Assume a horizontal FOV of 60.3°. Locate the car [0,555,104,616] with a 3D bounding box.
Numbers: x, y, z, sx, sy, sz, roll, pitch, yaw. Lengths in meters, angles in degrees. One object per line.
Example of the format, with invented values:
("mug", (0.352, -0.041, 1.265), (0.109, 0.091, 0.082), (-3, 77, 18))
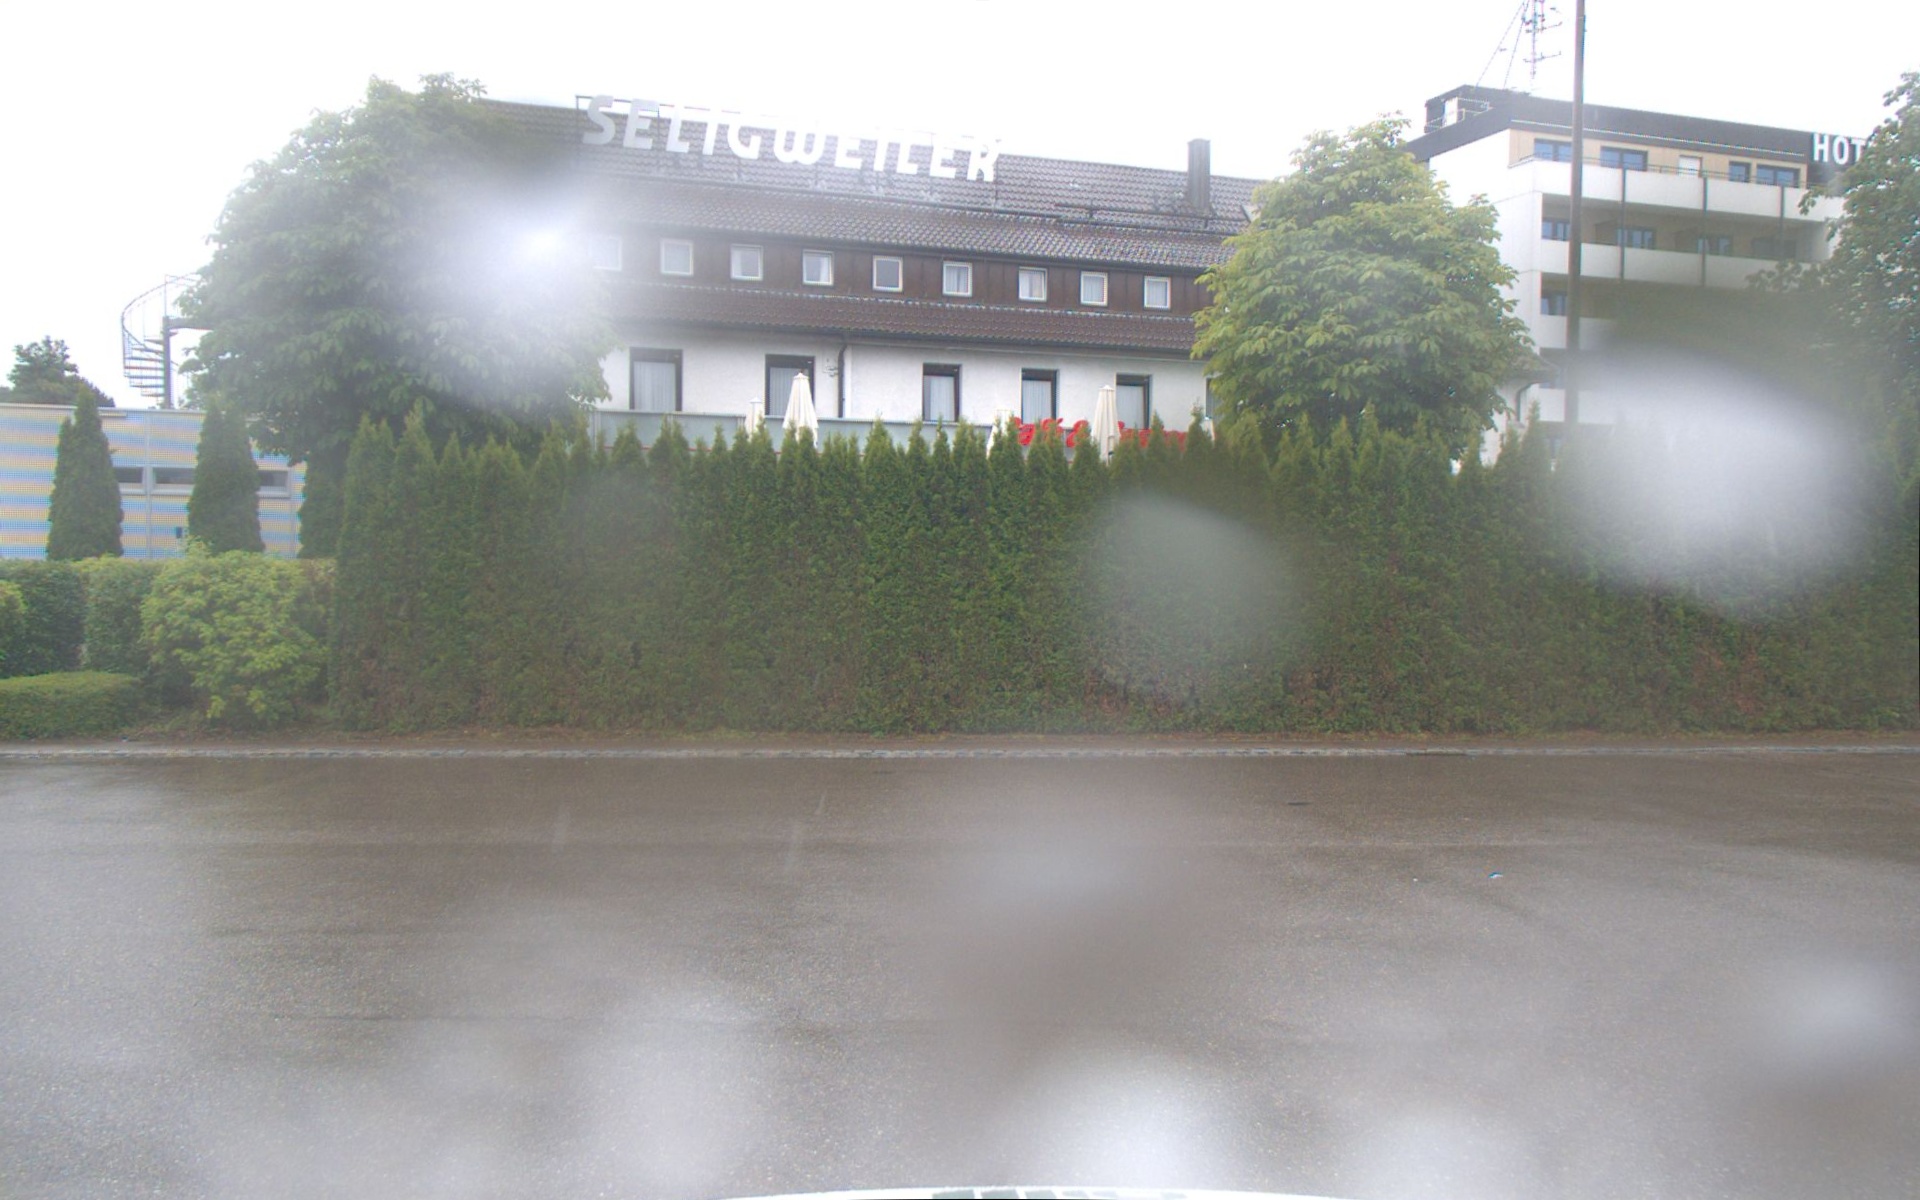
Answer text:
("car", (-25.093, -0.385, 43.757), (4.116, 1.523, 1.707), (-2, 2, -21))
